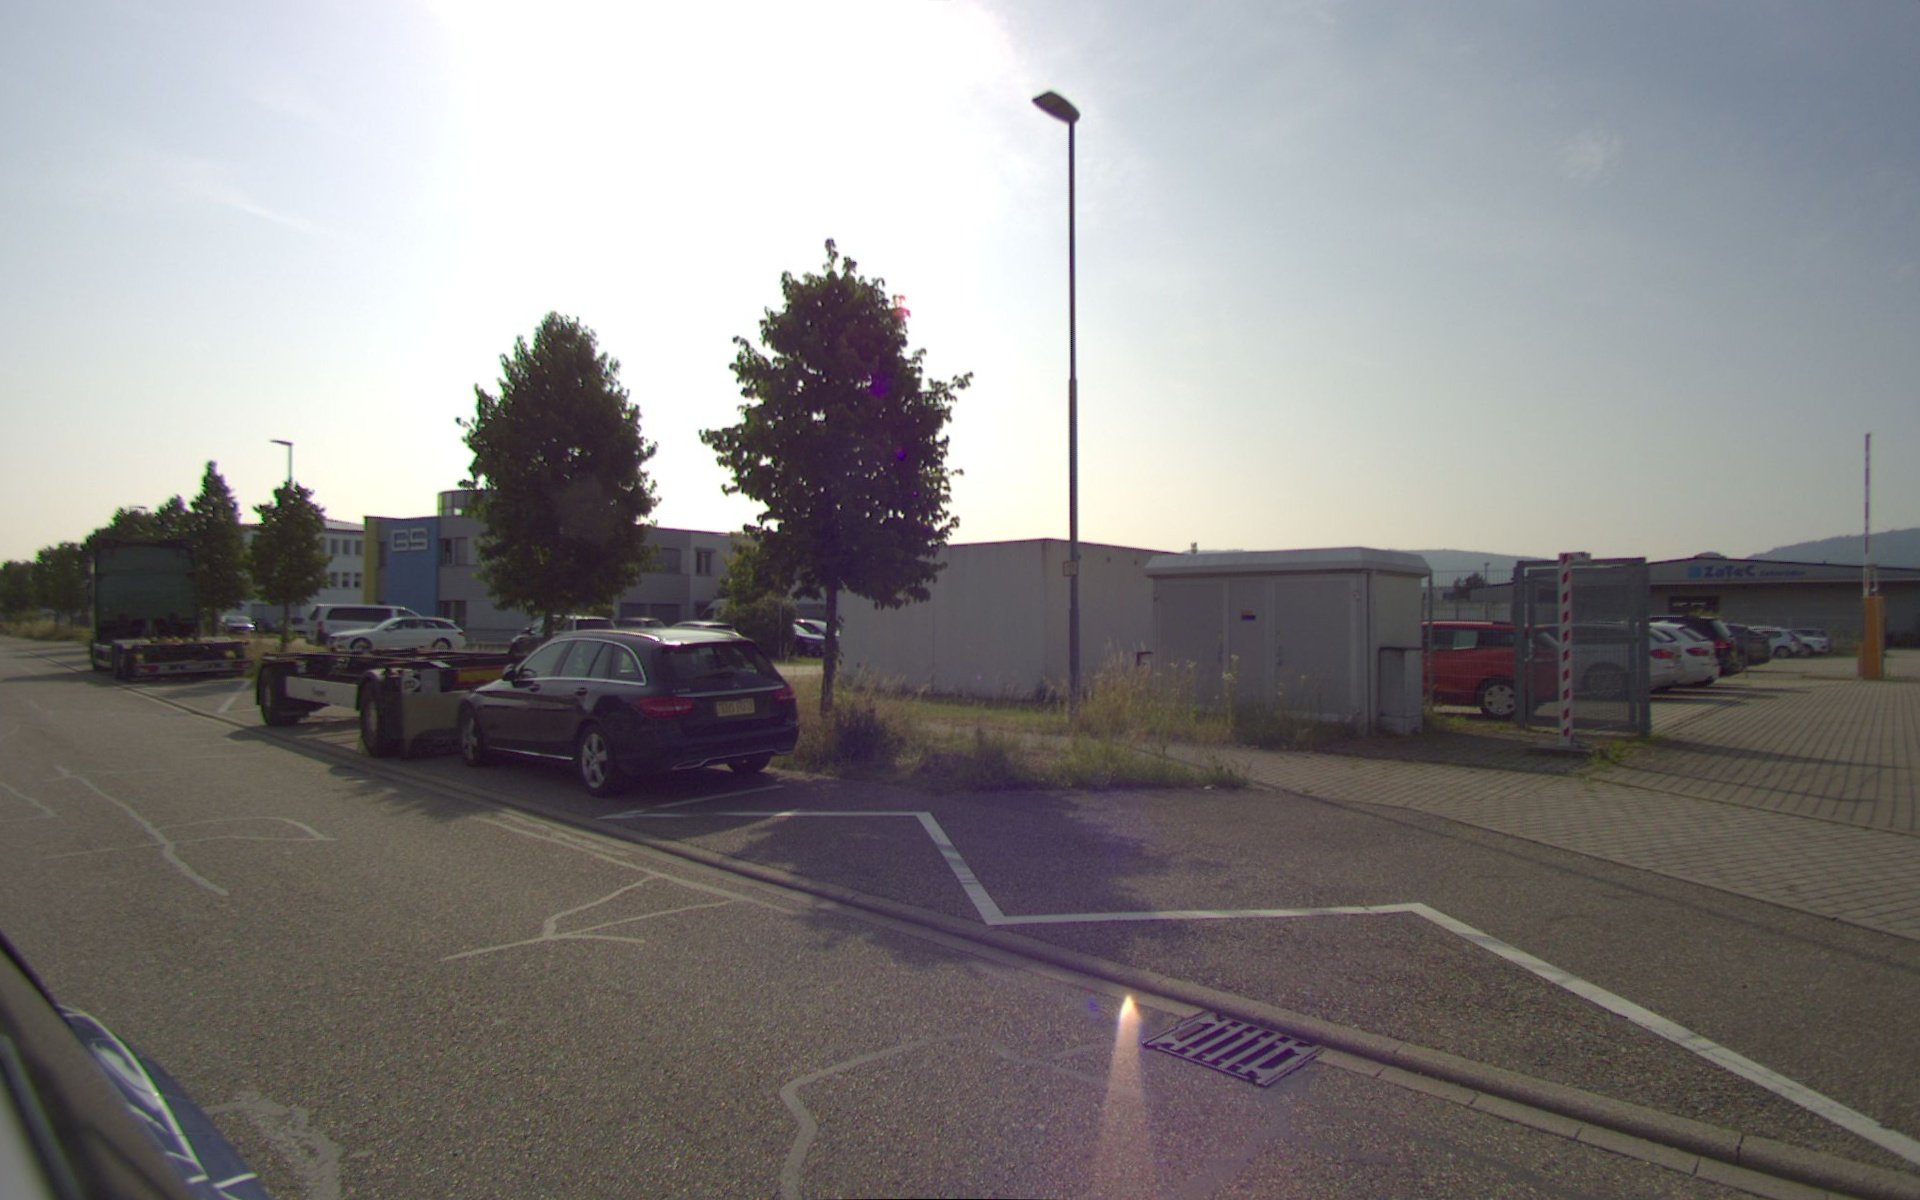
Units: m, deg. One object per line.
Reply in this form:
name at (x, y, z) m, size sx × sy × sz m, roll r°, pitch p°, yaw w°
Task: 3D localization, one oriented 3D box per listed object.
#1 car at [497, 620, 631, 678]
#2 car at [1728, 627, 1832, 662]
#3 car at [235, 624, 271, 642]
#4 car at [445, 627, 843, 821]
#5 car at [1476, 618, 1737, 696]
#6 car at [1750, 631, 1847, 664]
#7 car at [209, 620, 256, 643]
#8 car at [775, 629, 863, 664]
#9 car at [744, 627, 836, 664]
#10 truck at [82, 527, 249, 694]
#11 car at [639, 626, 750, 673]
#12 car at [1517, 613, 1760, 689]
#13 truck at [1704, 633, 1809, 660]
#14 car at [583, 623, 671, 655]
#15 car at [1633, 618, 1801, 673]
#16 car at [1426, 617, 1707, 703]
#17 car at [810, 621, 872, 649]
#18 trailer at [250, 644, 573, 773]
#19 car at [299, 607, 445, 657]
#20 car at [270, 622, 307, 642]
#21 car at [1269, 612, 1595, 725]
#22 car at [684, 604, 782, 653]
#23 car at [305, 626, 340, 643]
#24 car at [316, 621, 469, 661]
car at (-12.400, 1.487, 31.559) m, size 4.698 × 1.699 × 1.972 m, roll -1°, pitch -3°, yaw 42°
car at (43.175, 2.301, 53.347) m, size 1.843 × 1.782 × 4.004 m, roll 2°, pitch -2°, yaw -43°
car at (-59.413, 2.727, 85.009) m, size 3.920 × 1.479 × 1.734 m, roll -2°, pitch -2°, yaw 45°
car at (-3.374, 1.057, 10.287) m, size 4.433 × 1.478 × 1.971 m, roll -2°, pitch -1°, yaw 44°
car at (13.880, 1.205, 21.890) m, size 4.477 × 1.506 × 1.914 m, roll -3°, pitch -3°, yaw 42°
car at (47.468, 2.644, 57.329) m, size 1.843 × 1.782 × 4.004 m, roll 2°, pitch -2°, yaw -43°
car at (-52.917, 2.258, 73.577) m, size 4.509 × 1.619 × 1.921 m, roll -2°, pitch -2°, yaw 43°
car at (-6.483, 2.097, 46.251) m, size 4.212 × 1.527 × 1.687 m, roll -1°, pitch -3°, yaw 42°
car at (-7.446, 1.975, 44.089) m, size 4.212 × 1.527 × 1.687 m, roll -1°, pitch -3°, yaw 42°
truck at (-22.239, 0.255, 28.052) m, size 9.807 × 3.911 × 2.427 m, roll 0°, pitch 0°, yaw 45°
car at (-9.293, 1.693, 35.203) m, size 4.212 × 1.527 × 1.687 m, roll -1°, pitch -3°, yaw 42°
car at (15.798, 1.180, 23.720) m, size 4.477 × 1.616 × 1.914 m, roll -3°, pitch -3°, yaw 42°
truck at (40.796, 2.352, 51.879) m, size 1.843 × 1.320 × 4.004 m, roll 2°, pitch -2°, yaw -43°
car at (-17.089, 1.972, 51.861) m, size 4.503 × 1.492 × 1.564 m, roll 0°, pitch -2°, yaw 28°
car at (25.660, 1.503, 34.406) m, size 4.451 × 1.741 × 1.963 m, roll -1°, pitch -2°, yaw 40°
car at (11.896, 1.152, 20.051) m, size 4.477 × 1.506 × 1.813 m, roll -3°, pitch -3°, yaw 43°
car at (-7.700, 2.241, 65.086) m, size 4.000 × 1.724 × 1.809 m, roll -1°, pitch -2°, yaw 43°
trailer at (-7.938, 1.297, 14.105) m, size 2.105 × 1.242 × 7.162 m, roll -1°, pitch -1°, yaw -44°
car at (-23.422, 1.269, 40.426) m, size 2.103 × 1.850 × 4.652 m, roll -1°, pitch -2°, yaw 43°
car at (-57.585, 2.735, 86.751) m, size 3.920 × 1.631 × 1.884 m, roll -2°, pitch -2°, yaw 44°
car at (7.252, 1.024, 15.784) m, size 4.298 × 1.537 × 1.753 m, roll -3°, pitch -3°, yaw 38°
car at (-13.093, 1.583, 58.233) m, size 5.722 × 2.715 × 1.695 m, roll 0°, pitch -1°, yaw 27°
car at (-55.835, 2.991, 88.633) m, size 3.920 × 1.479 × 1.734 m, roll -2°, pitch -2°, yaw 45°
car at (-21.503, 1.524, 38.480) m, size 1.999 × 1.442 × 4.677 m, roll -1°, pitch -2°, yaw 41°
